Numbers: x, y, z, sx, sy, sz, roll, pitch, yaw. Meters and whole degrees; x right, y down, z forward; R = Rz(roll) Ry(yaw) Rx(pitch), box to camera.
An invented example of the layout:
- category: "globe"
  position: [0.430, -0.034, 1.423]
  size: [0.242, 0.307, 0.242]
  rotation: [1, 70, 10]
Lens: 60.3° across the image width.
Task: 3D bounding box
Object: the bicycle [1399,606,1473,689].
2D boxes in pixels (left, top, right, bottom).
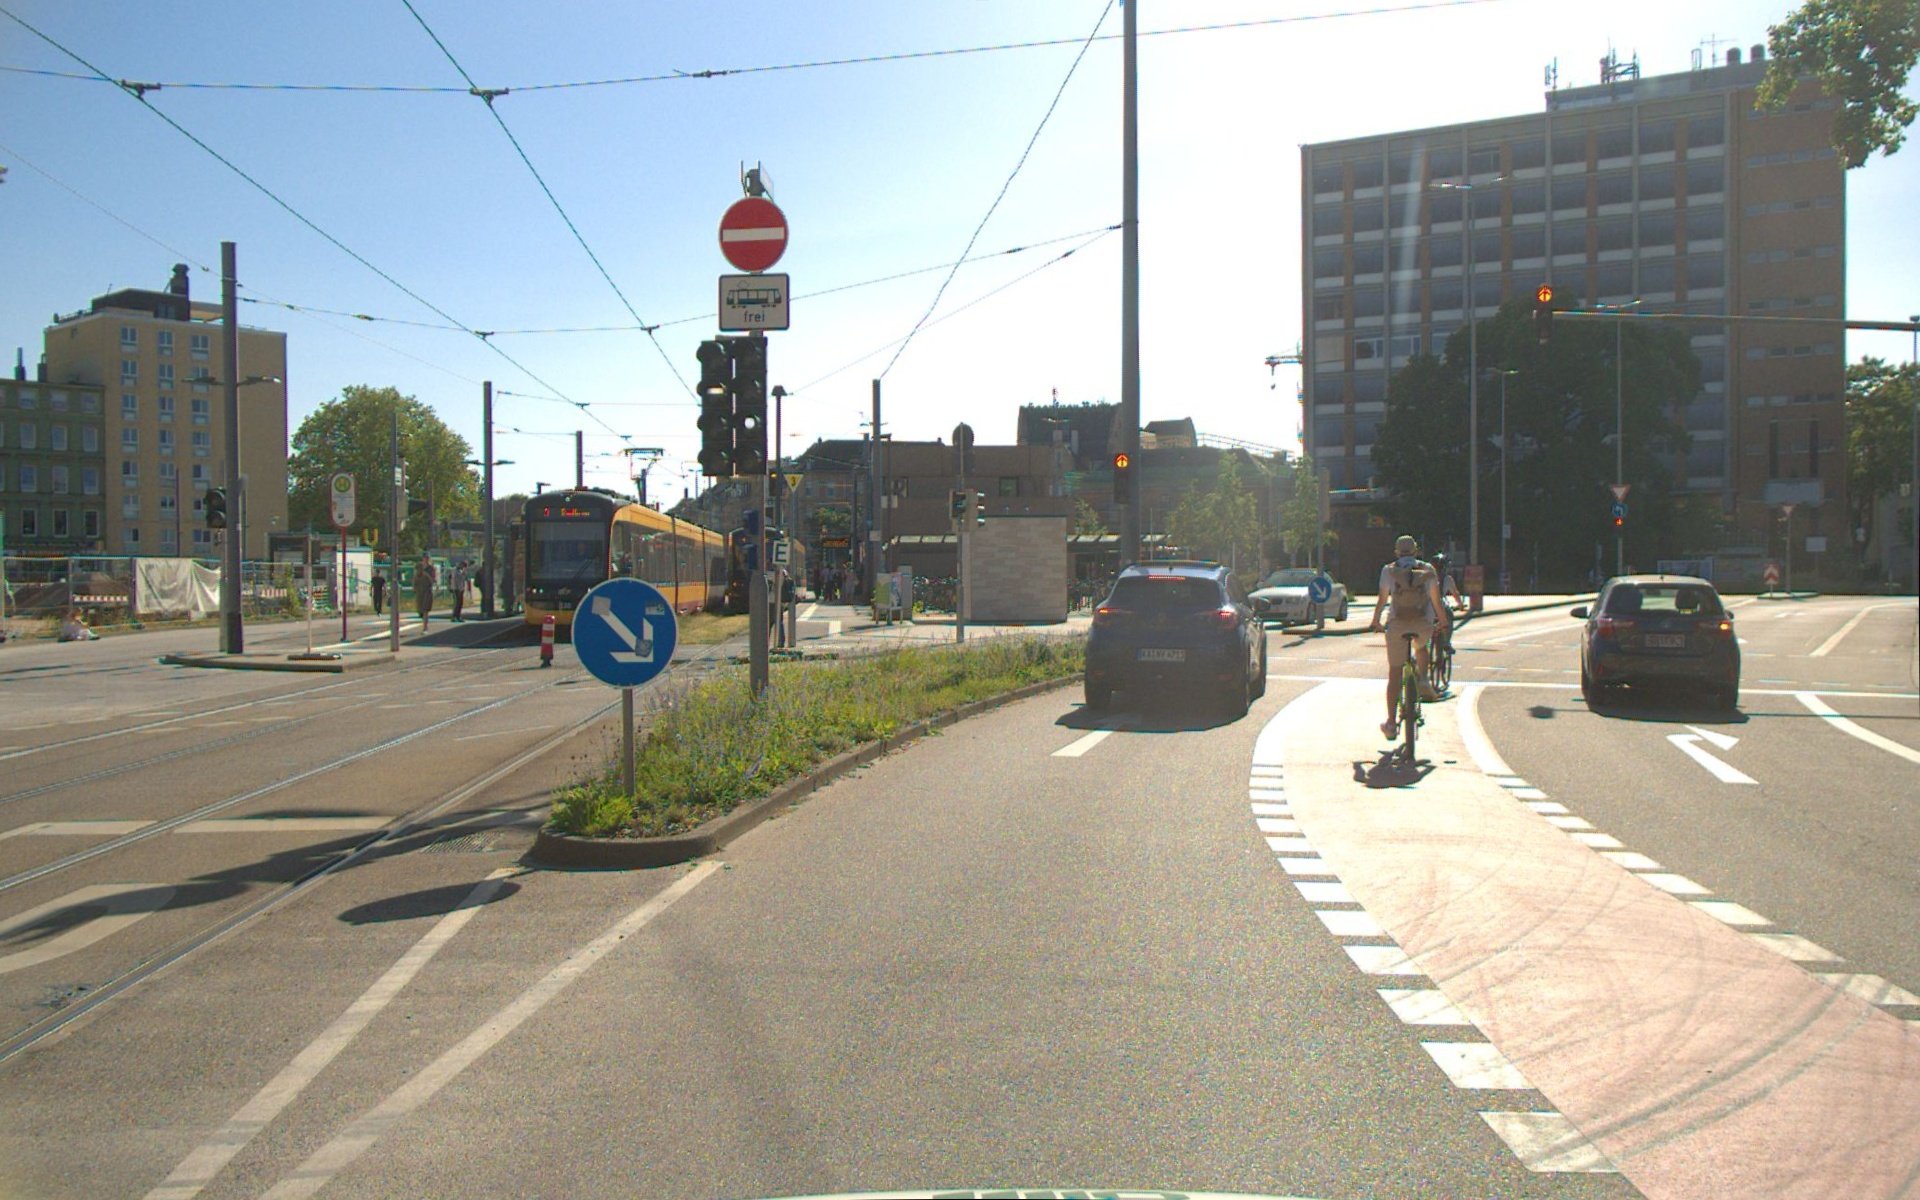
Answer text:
- category: "bicycle"
  position: [6.269, 0.601, 21.726]
  size: [0.708, 0.976, 1.883]
  rotation: [1, 2, 23]

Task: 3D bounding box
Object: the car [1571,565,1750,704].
- category: "car"
  position: [8.651, 0.347, 20.677]
  size: [1.719, 1.568, 3.661]
  rotation: [0, 1, 18]

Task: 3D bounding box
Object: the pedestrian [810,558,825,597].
- category: "pedestrian"
  position: [-7.171, -1.134, 83.048]
  size: [0.726, 1.951, 0.741]
  rotation: [1, 0, -5]

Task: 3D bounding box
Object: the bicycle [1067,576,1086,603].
- category: "bicycle"
  position: [4.844, -0.433, 68.859]
  size: [0.569, 1.107, 1.871]
  rotation: [1, 0, -2]

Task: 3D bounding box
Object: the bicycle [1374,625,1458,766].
- category: "bicycle"
  position: [3.948, 0.787, 14.297]
  size: [0.648, 1.065, 1.892]
  rotation: [0, 1, 16]

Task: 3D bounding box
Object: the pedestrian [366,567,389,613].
- category: "pedestrian"
  position: [-22.965, -0.390, 65.196]
  size: [0.654, 1.798, 0.799]
  rotation: [-1, 1, -6]

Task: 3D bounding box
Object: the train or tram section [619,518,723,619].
- category: "train or tram section"
  position: [-11.079, -1.203, 64.411]
  size: [2.761, 3.569, 11.202]
  rotation: [0, 1, -4]

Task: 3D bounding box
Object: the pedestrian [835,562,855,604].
- category: "pedestrian"
  position: [-5.282, -0.773, 75.969]
  size: [0.831, 1.916, 0.759]
  rotation: [1, 0, -6]

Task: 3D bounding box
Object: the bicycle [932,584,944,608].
- category: "bicycle"
  position: [-0.886, -0.176, 66.236]
  size: [0.413, 0.954, 1.378]
  rotation: [1, 1, -2]

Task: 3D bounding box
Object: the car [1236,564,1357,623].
- category: "car"
  position: [8.543, -0.192, 41.759]
  size: [1.767, 1.417, 4.085]
  rotation: [0, 1, 30]

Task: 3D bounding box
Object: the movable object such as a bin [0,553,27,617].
- category: "movable object such as a bin"
  position: [-44.030, -0.678, 74.629]
  size: [3.917, 2.845, 1.827]
  rotation: [1, 0, 34]

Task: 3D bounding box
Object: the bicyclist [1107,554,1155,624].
- category: "bicyclist"
  position: [4.191, -0.269, 40.466]
  size: [0.862, 1.673, 1.060]
  rotation: [-1, 0, 23]

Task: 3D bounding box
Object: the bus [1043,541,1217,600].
- category: "bus"
  position: [10.404, -1.777, 103.172]
  size: [2.856, 3.455, 12.264]
  rotation: [1, 0, -40]

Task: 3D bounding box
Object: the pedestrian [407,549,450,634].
- category: "pedestrian"
  position: [-12.182, -0.206, 37.933]
  size: [0.747, 1.882, 0.901]
  rotation: [-1, 3, -6]

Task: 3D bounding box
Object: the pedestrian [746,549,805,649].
- category: "pedestrian"
  position: [-3.507, -0.013, 31.402]
  size: [0.999, 1.864, 0.757]
  rotation: [1, 0, -15]

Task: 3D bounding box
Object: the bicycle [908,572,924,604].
- category: "bicycle"
  position: [-1.565, -0.414, 59.506]
  size: [0.554, 1.112, 2.029]
  rotation: [1, 0, -1]

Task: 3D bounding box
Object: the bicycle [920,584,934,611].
- category: "bicycle"
  position: [-1.235, -0.106, 61.199]
  size: [0.413, 0.954, 1.304]
  rotation: [1, 1, -6]

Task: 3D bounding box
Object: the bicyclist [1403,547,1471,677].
- category: "bicyclist"
  position: [6.249, 0.139, 21.653]
  size: [0.707, 1.654, 1.055]
  rotation: [1, 1, 23]

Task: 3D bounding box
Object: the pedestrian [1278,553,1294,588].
- category: "pedestrian"
  position: [17.519, -1.591, 88.869]
  size: [0.711, 1.889, 0.702]
  rotation: [1, 0, -1]

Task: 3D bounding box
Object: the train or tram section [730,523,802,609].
- category: "train or tram section"
  position: [-8.580, -1.504, 74.066]
  size: [2.815, 3.569, 10.534]
  rotation: [0, 1, -5]

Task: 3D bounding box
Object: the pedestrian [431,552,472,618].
- category: "pedestrian"
  position: [-15.934, -0.473, 51.845]
  size: [0.941, 2.049, 0.999]
  rotation: [1, 0, 2]

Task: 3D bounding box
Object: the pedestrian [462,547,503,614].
- category: "pedestrian"
  position: [-14.941, -0.608, 51.767]
  size: [0.941, 2.049, 0.999]
  rotation: [1, 0, 2]

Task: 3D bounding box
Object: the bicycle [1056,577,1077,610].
- category: "bicycle"
  position: [3.561, -0.219, 55.368]
  size: [0.568, 1.076, 1.816]
  rotation: [1, 0, 1]

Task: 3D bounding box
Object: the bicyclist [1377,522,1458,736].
- category: "bicyclist"
  position: [3.961, 0.230, 14.319]
  size: [0.649, 1.778, 1.006]
  rotation: [0, 1, 16]

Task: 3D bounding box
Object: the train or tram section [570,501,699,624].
- category: "train or tram section"
  position: [-10.334, -1.189, 53.567]
  size: [2.761, 3.569, 10.604]
  rotation: [0, 1, -4]

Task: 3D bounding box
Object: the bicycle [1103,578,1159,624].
- category: "bicycle"
  position: [4.193, 0.019, 40.418]
  size: [0.757, 1.099, 2.035]
  rotation: [-1, 0, 23]

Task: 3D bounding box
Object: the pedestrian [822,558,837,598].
- category: "pedestrian"
  position: [-6.255, -1.051, 79.210]
  size: [0.620, 1.889, 0.701]
  rotation: [1, 0, -10]

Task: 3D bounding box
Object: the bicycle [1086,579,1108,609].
- category: "bicycle"
  position: [4.605, -0.205, 55.577]
  size: [0.568, 0.978, 2.059]
  rotation: [1, 0, 1]

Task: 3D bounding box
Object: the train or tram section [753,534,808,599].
- category: "train or tram section"
  position: [-10.205, -1.914, 95.015]
  size: [2.815, 3.569, 10.534]
  rotation: [0, 1, -5]

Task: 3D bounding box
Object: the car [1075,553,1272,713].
- category: "car"
  position: [2.549, 0.302, 19.046]
  size: [1.784, 1.627, 3.662]
  rotation: [1, 1, 15]

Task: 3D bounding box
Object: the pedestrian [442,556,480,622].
- category: "pedestrian"
  position: [-13.826, -0.315, 45.838]
  size: [0.851, 1.798, 0.965]
  rotation: [-1, 1, -26]

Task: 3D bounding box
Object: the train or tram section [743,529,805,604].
- category: "train or tram section"
  position: [-9.414, -1.687, 84.508]
  size: [2.815, 3.569, 10.534]
  rotation: [0, 1, -5]

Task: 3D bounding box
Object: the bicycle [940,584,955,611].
- category: "bicycle"
  position: [-0.467, -0.096, 61.411]
  size: [0.413, 0.954, 1.304]
  rotation: [1, 1, -5]

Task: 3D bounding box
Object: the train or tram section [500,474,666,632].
- category: "train or tram section"
  position: [-9.539, -1.168, 43.023]
  size: [2.762, 3.569, 10.469]
  rotation: [-1, 1, -5]

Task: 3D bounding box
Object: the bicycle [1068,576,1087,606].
- category: "bicycle"
  position: [4.344, -0.321, 61.360]
  size: [0.568, 1.107, 2.059]
  rotation: [1, 0, 1]
